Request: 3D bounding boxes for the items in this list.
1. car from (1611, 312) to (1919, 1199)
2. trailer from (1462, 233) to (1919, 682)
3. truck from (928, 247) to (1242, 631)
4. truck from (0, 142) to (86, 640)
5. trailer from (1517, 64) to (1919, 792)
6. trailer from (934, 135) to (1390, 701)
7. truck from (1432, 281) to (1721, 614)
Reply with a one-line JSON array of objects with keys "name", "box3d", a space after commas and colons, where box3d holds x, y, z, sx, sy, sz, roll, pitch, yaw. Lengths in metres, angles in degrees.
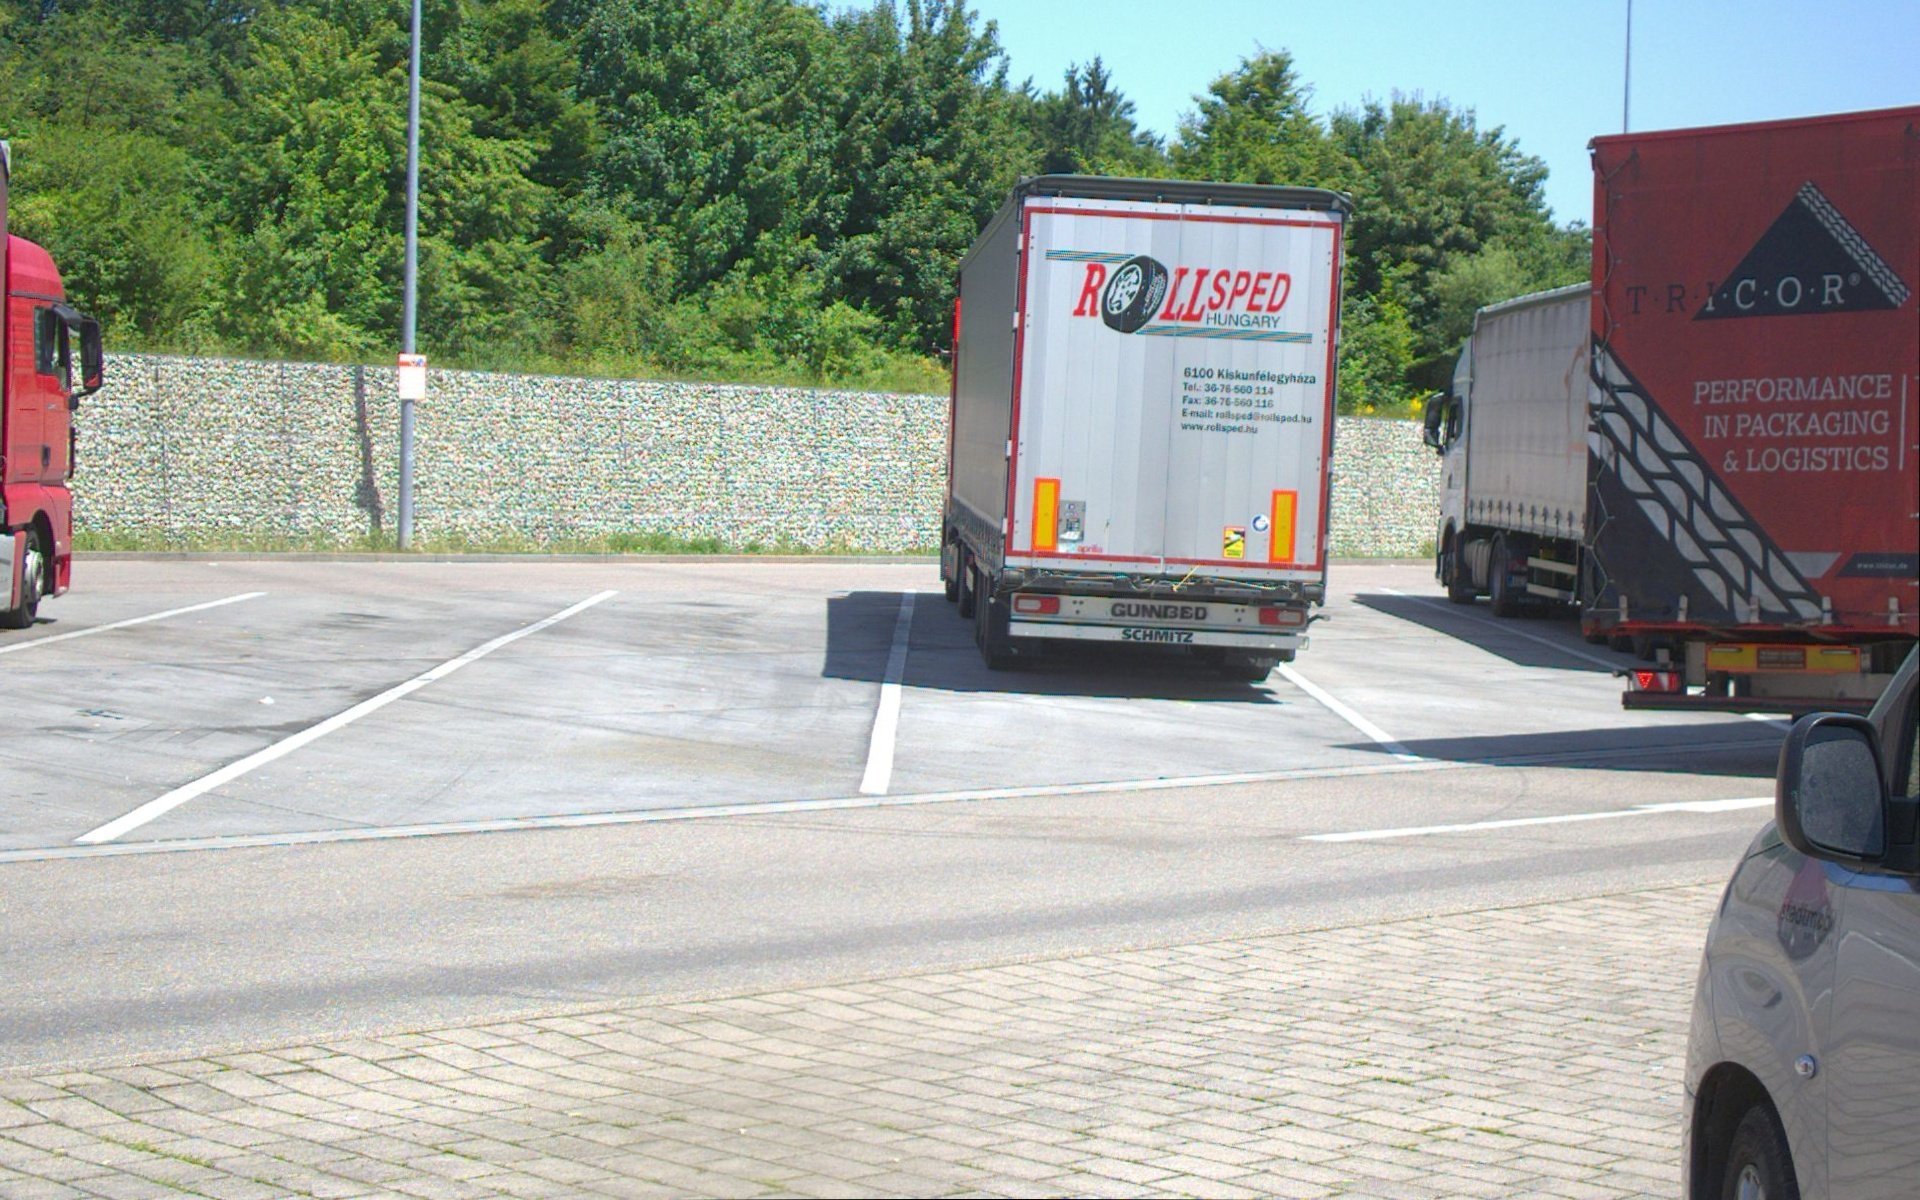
[{"name": "car", "box3d": [2.139, 0.543, 3.774, 1.825, 1.747, 4.001, 1, 2, -4]}, {"name": "trailer", "box3d": [8.149, -1.536, 38.453, 2.876, 4.110, 13.572, 1, 2, -1]}, {"name": "truck", "box3d": [1.273, -1.856, 39.385, 3.026, 3.915, 6.847, 2, 3, -2]}, {"name": "truck", "box3d": [-9.224, -1.703, 27.637, 2.743, 4.067, 6.830, 1, 2, -1]}, {"name": "trailer", "box3d": [7.663, -1.111, 24.094, 2.841, 4.243, 8.662, 2, 3, 45]}, {"name": "trailer", "box3d": [1.486, -1.697, 32.617, 3.069, 4.213, 12.810, 2, 3, -2]}, {"name": "truck", "box3d": [8.037, -1.989, 45.448, 2.757, 4.110, 5.285, 1, 2, -1]}]
